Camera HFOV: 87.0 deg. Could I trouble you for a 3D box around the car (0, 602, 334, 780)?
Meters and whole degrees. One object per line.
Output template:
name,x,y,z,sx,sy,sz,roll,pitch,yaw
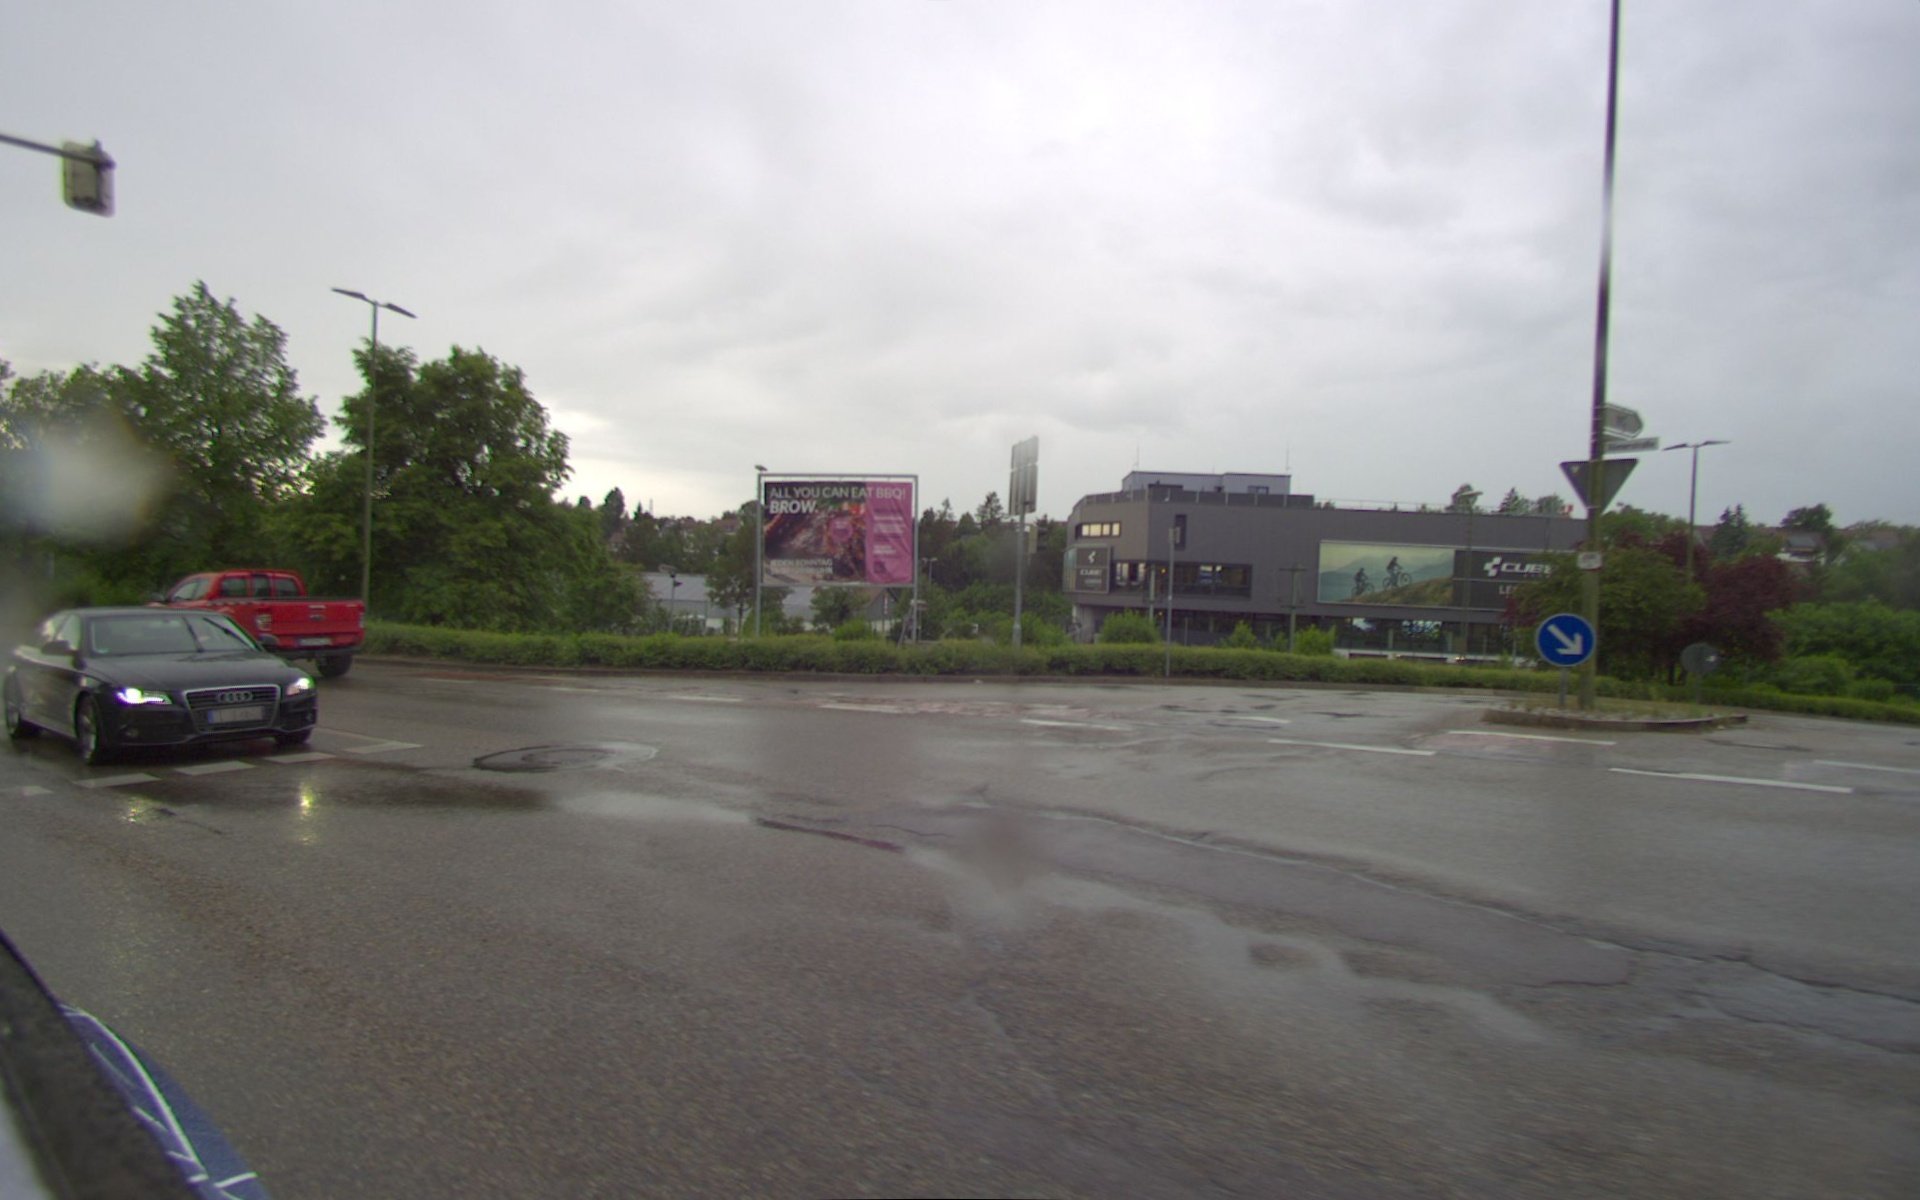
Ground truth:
car,-8.130,0.751,10.231,3.993,1.406,1.739,1,1,37

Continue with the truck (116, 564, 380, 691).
truck,-12.985,0.422,18.356,5.319,2.029,1.979,0,0,31
